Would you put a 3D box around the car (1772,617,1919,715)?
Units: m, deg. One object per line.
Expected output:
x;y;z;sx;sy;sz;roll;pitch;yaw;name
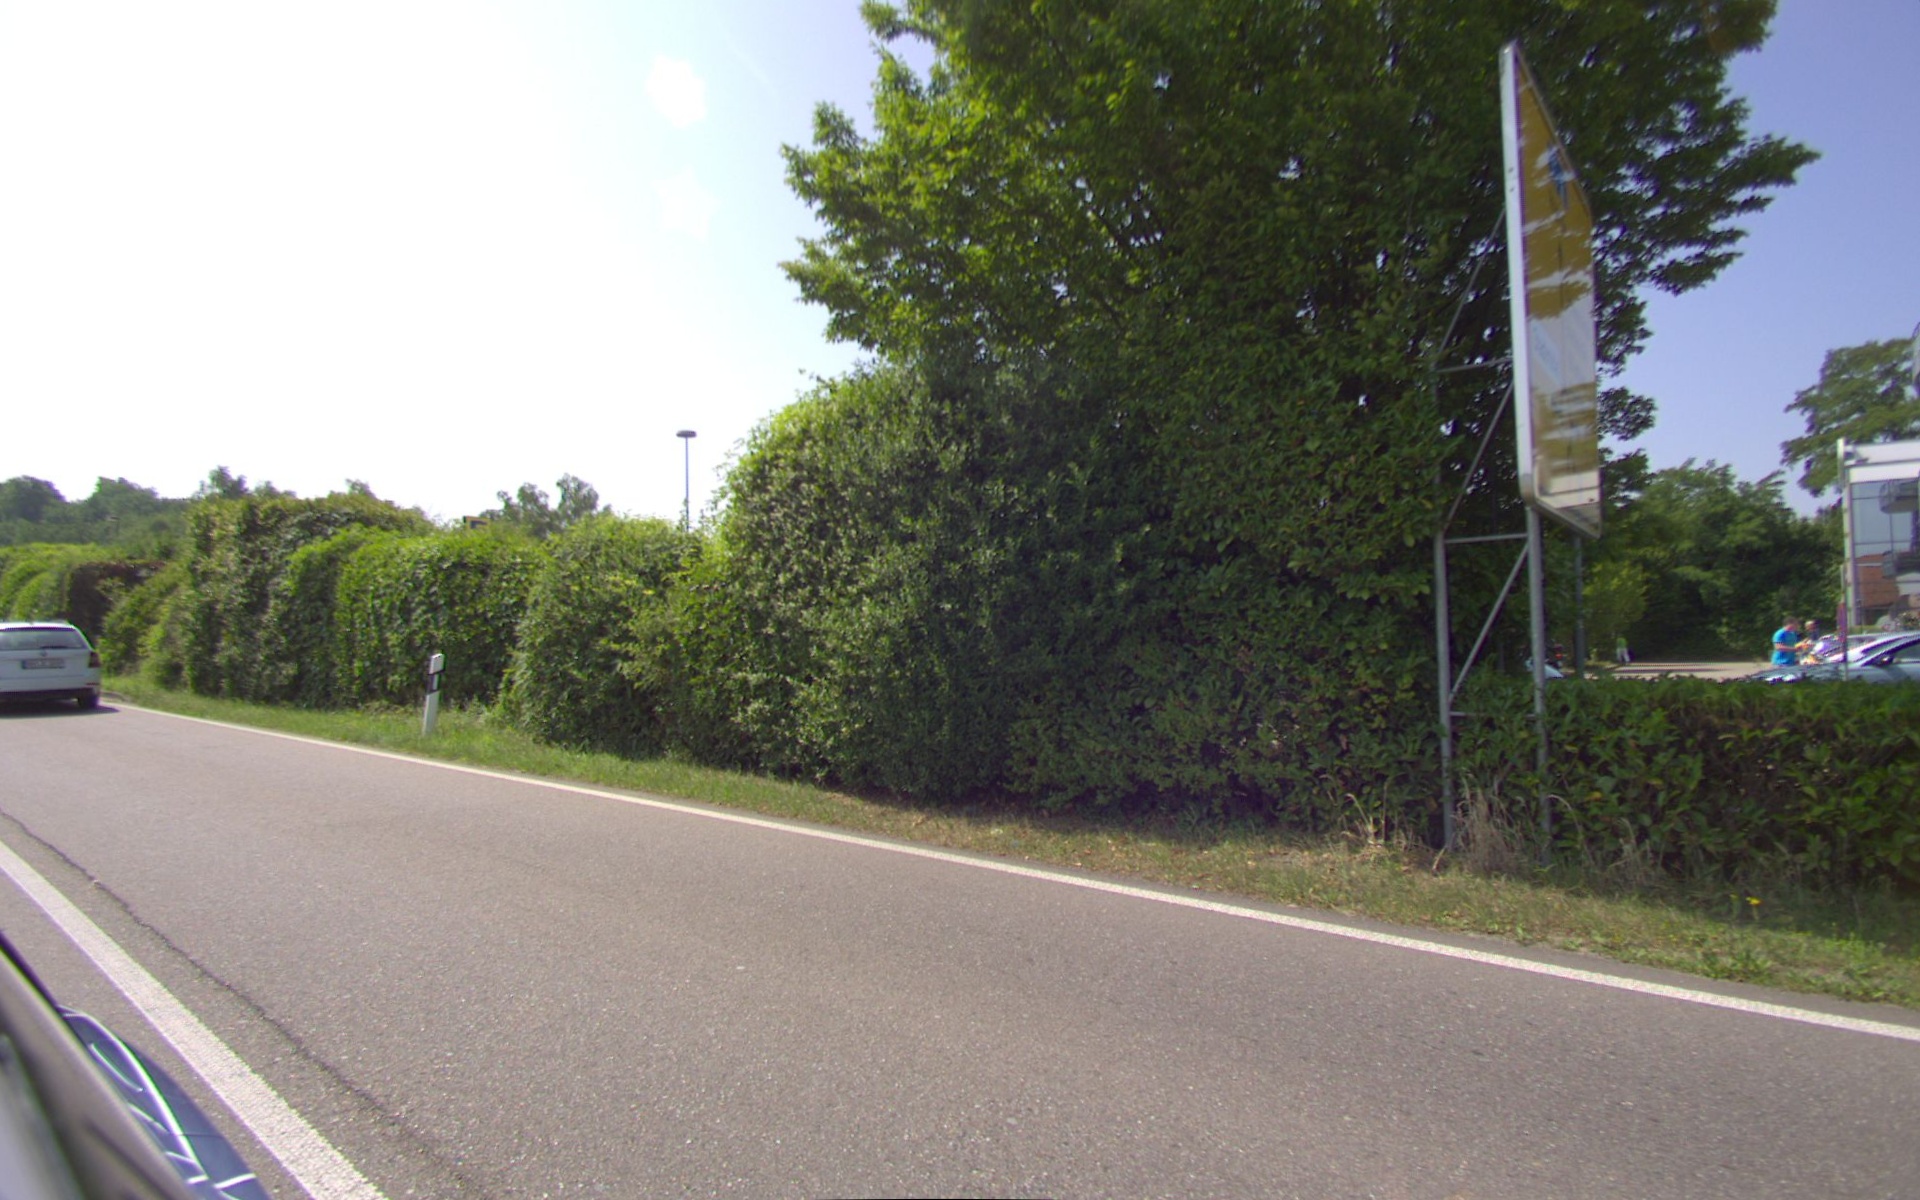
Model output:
14.914;0.961;15.027;4.382;1.406;1.685;-1;-1;41;car

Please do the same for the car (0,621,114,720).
-16.075;1.108;17.117;4.403;1.481;1.811;-1;-1;38;car

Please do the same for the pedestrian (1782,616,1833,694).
16.230;1.035;19.379;0.701;1.462;0.629;-1;-1;43;pedestrian

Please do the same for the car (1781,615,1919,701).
16.668;0.962;17.032;4.382;1.406;1.685;-1;-1;41;car

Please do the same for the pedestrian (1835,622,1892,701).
17.132;1.153;19.208;0.639;1.462;0.632;-1;-1;27;pedestrian
